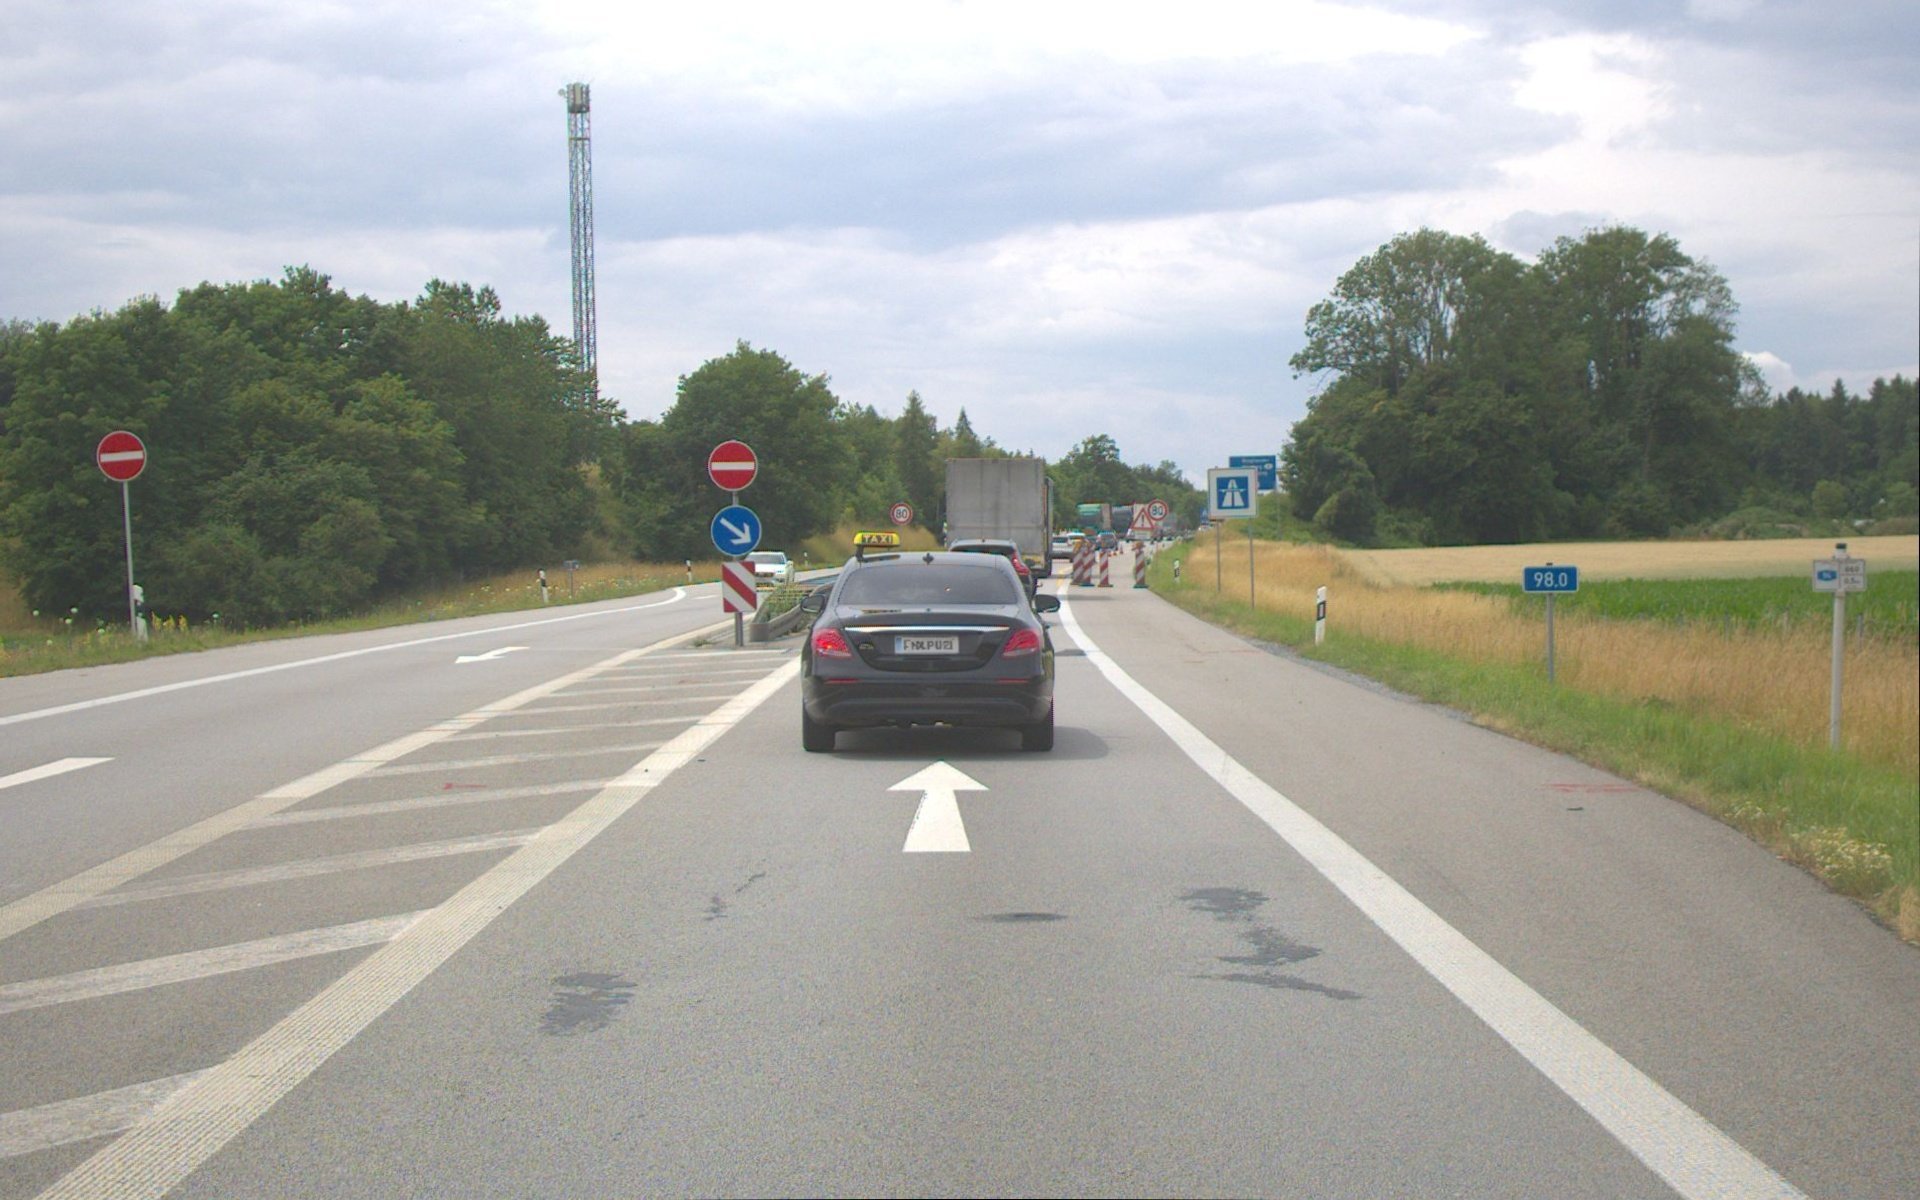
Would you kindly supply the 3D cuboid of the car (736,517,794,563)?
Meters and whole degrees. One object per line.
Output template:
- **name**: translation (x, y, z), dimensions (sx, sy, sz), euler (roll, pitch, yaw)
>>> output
- **car**: translation (-7.091, -2.181, 125.424), dimensions (1.817, 1.627, 4.602), euler (0, 1, 1)

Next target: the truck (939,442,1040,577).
- **truck**: translation (0.831, -2.384, 92.006), dimensions (2.587, 3.512, 4.812), euler (0, 1, 2)

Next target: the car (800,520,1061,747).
- **car**: translation (-0.175, 0.209, 25.827), dimensions (1.796, 1.554, 4.000), euler (0, 1, 1)

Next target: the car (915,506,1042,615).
- **car**: translation (0.324, -0.756, 66.002), dimensions (1.993, 2.007, 4.001), euler (0, 1, -6)

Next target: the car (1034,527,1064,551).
- **car**: translation (5.328, -3.641, 205.992), dimensions (1.649, 1.391, 3.706), euler (0, 1, -1)
